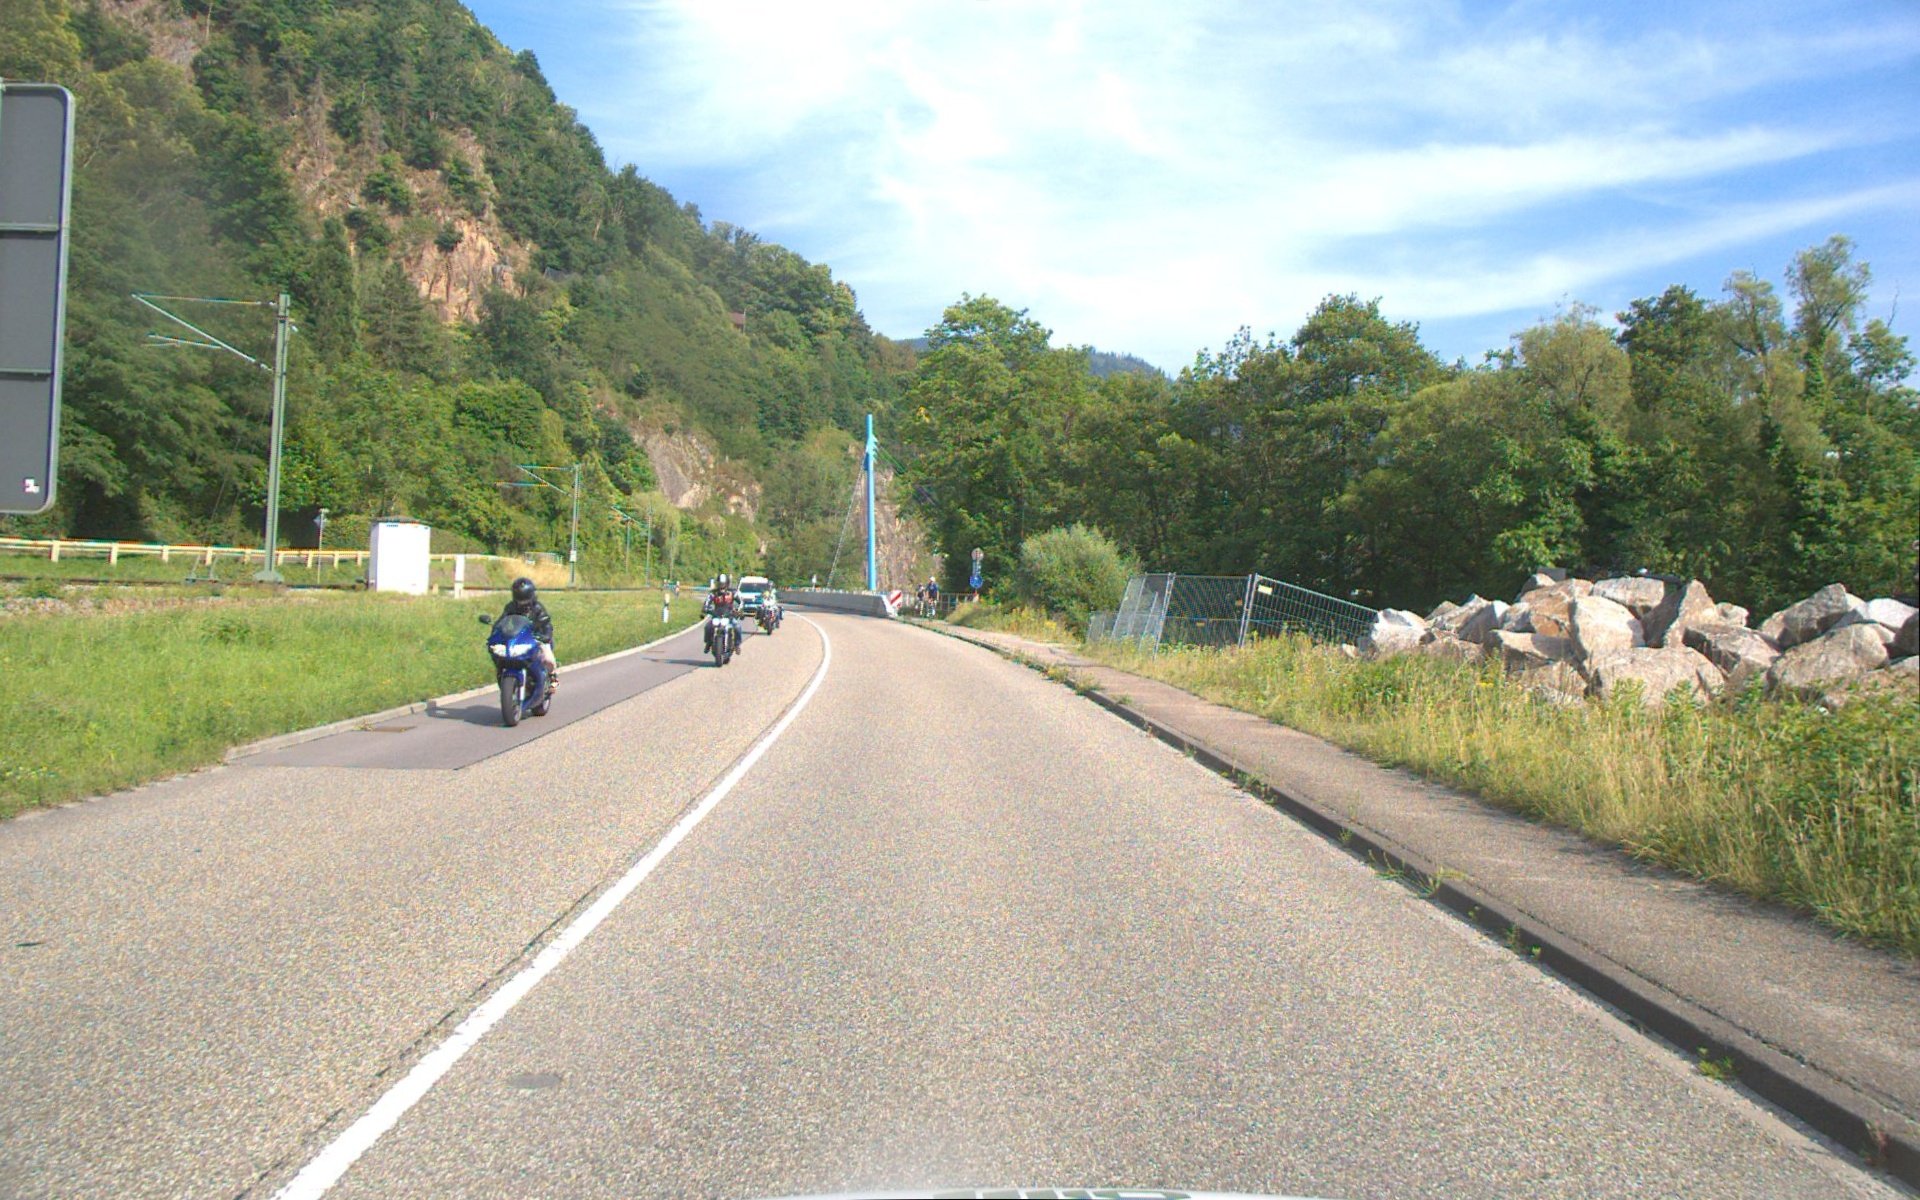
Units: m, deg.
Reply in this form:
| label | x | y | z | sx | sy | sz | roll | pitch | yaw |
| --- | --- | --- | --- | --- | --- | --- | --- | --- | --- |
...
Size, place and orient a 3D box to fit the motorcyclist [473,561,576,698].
| label | x | y | z | sx | sy | sz | roll | pitch | yaw |
| --- | --- | --- | --- | --- | --- | --- | --- | --- | --- |
| motorcyclist | -4.782 | 0.305 | 18.217 | 0.826 | 1.447 | 0.964 | 1 | 1 | 1 |

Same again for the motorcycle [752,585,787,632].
| label | x | y | z | sx | sy | sz | roll | pitch | yaw |
| --- | --- | --- | --- | --- | --- | --- | --- | --- | --- |
| motorcycle | -5.989 | 0.249 | 52.159 | 0.844 | 1.407 | 2.403 | 1 | 1 | -1 |

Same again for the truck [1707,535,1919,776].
| label | x | y | z | sx | sy | sz | roll | pitch | yaw |
| --- | --- | --- | --- | --- | --- | --- | --- | --- | --- |
| truck | 16.682 | 0.961 | 28.059 | 3.045 | 3.847 | 8.630 | 4 | 0 | -8 |

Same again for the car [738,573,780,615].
| label | x | y | z | sx | sy | sz | roll | pitch | yaw |
| --- | --- | --- | --- | --- | --- | --- | --- | --- | --- |
| car | -9.367 | -0.327 | 77.017 | 1.835 | 1.812 | 4.592 | 2 | 1 | -8 |

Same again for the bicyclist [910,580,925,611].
| label | x | y | z | sx | sy | sz | roll | pitch | yaw |
| --- | --- | --- | --- | --- | --- | --- | --- | --- | --- |
| bicyclist | -2.078 | -0.225 | 80.722 | 0.581 | 1.425 | 0.760 | 4 | 0 | -8 |

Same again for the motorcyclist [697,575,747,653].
| label | x | y | z | sx | sy | sz | roll | pitch | yaw |
| --- | --- | --- | --- | --- | --- | --- | --- | --- | --- |
| motorcyclist | -4.559 | 0.254 | 31.744 | 0.826 | 1.447 | 0.963 | 1 | 1 | -3 |

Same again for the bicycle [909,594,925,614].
| label | x | y | z | sx | sy | sz | roll | pitch | yaw |
| --- | --- | --- | --- | --- | --- | --- | --- | --- | --- |
| bicycle | -2.104 | 0.195 | 80.682 | 0.589 | 0.932 | 1.845 | 4 | 0 | -7 |

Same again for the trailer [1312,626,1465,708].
| label | x | y | z | sx | sy | sz | roll | pitch | yaw |
| --- | --- | --- | --- | --- | --- | --- | --- | --- | --- |
| trailer | 11.106 | 1.708 | 43.209 | 2.017 | 1.854 | 4.780 | 3 | -1 | -10 |

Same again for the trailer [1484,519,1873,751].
| label | x | y | z | sx | sy | sz | roll | pitch | yaw |
| --- | --- | --- | --- | --- | --- | --- | --- | --- | --- |
| trailer | 15.631 | 0.723 | 37.242 | 3.302 | 4.348 | 9.892 | 3 | -1 | -7 |

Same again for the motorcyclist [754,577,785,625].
| label | x | y | z | sx | sy | sz | roll | pitch | yaw |
| --- | --- | --- | --- | --- | --- | --- | --- | --- | --- |
| motorcyclist | -5.980 | 0.026 | 52.048 | 0.841 | 1.447 | 0.964 | 1 | 1 | -1 |

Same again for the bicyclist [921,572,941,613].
| label | x | y | z | sx | sy | sz | roll | pitch | yaw |
| --- | --- | --- | --- | --- | --- | --- | --- | --- | --- |
| bicyclist | -1.212 | -0.313 | 68.728 | 0.629 | 1.682 | 0.807 | 4 | 0 | -7 |

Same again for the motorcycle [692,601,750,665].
| label | x | y | z | sx | sy | sz | roll | pitch | yaw |
| --- | --- | --- | --- | --- | --- | --- | --- | --- | --- |
| motorcycle | -4.578 | 0.615 | 31.819 | 0.844 | 1.150 | 2.125 | 1 | 1 | -2 |

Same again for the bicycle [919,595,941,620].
| label | x | y | z | sx | sy | sz | roll | pitch | yaw |
| --- | --- | --- | --- | --- | --- | --- | --- | --- | --- |
| bicycle | -1.252 | 0.289 | 68.662 | 0.636 | 0.958 | 1.845 | 4 | 0 | -7 |

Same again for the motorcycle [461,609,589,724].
| label | x | y | z | sx | sy | sz | roll | pitch | yaw |
| --- | --- | --- | --- | --- | --- | --- | --- | --- | --- |
| motorcycle | -4.784 | 0.703 | 18.325 | 0.844 | 1.150 | 1.969 | 1 | 1 | 1 |
